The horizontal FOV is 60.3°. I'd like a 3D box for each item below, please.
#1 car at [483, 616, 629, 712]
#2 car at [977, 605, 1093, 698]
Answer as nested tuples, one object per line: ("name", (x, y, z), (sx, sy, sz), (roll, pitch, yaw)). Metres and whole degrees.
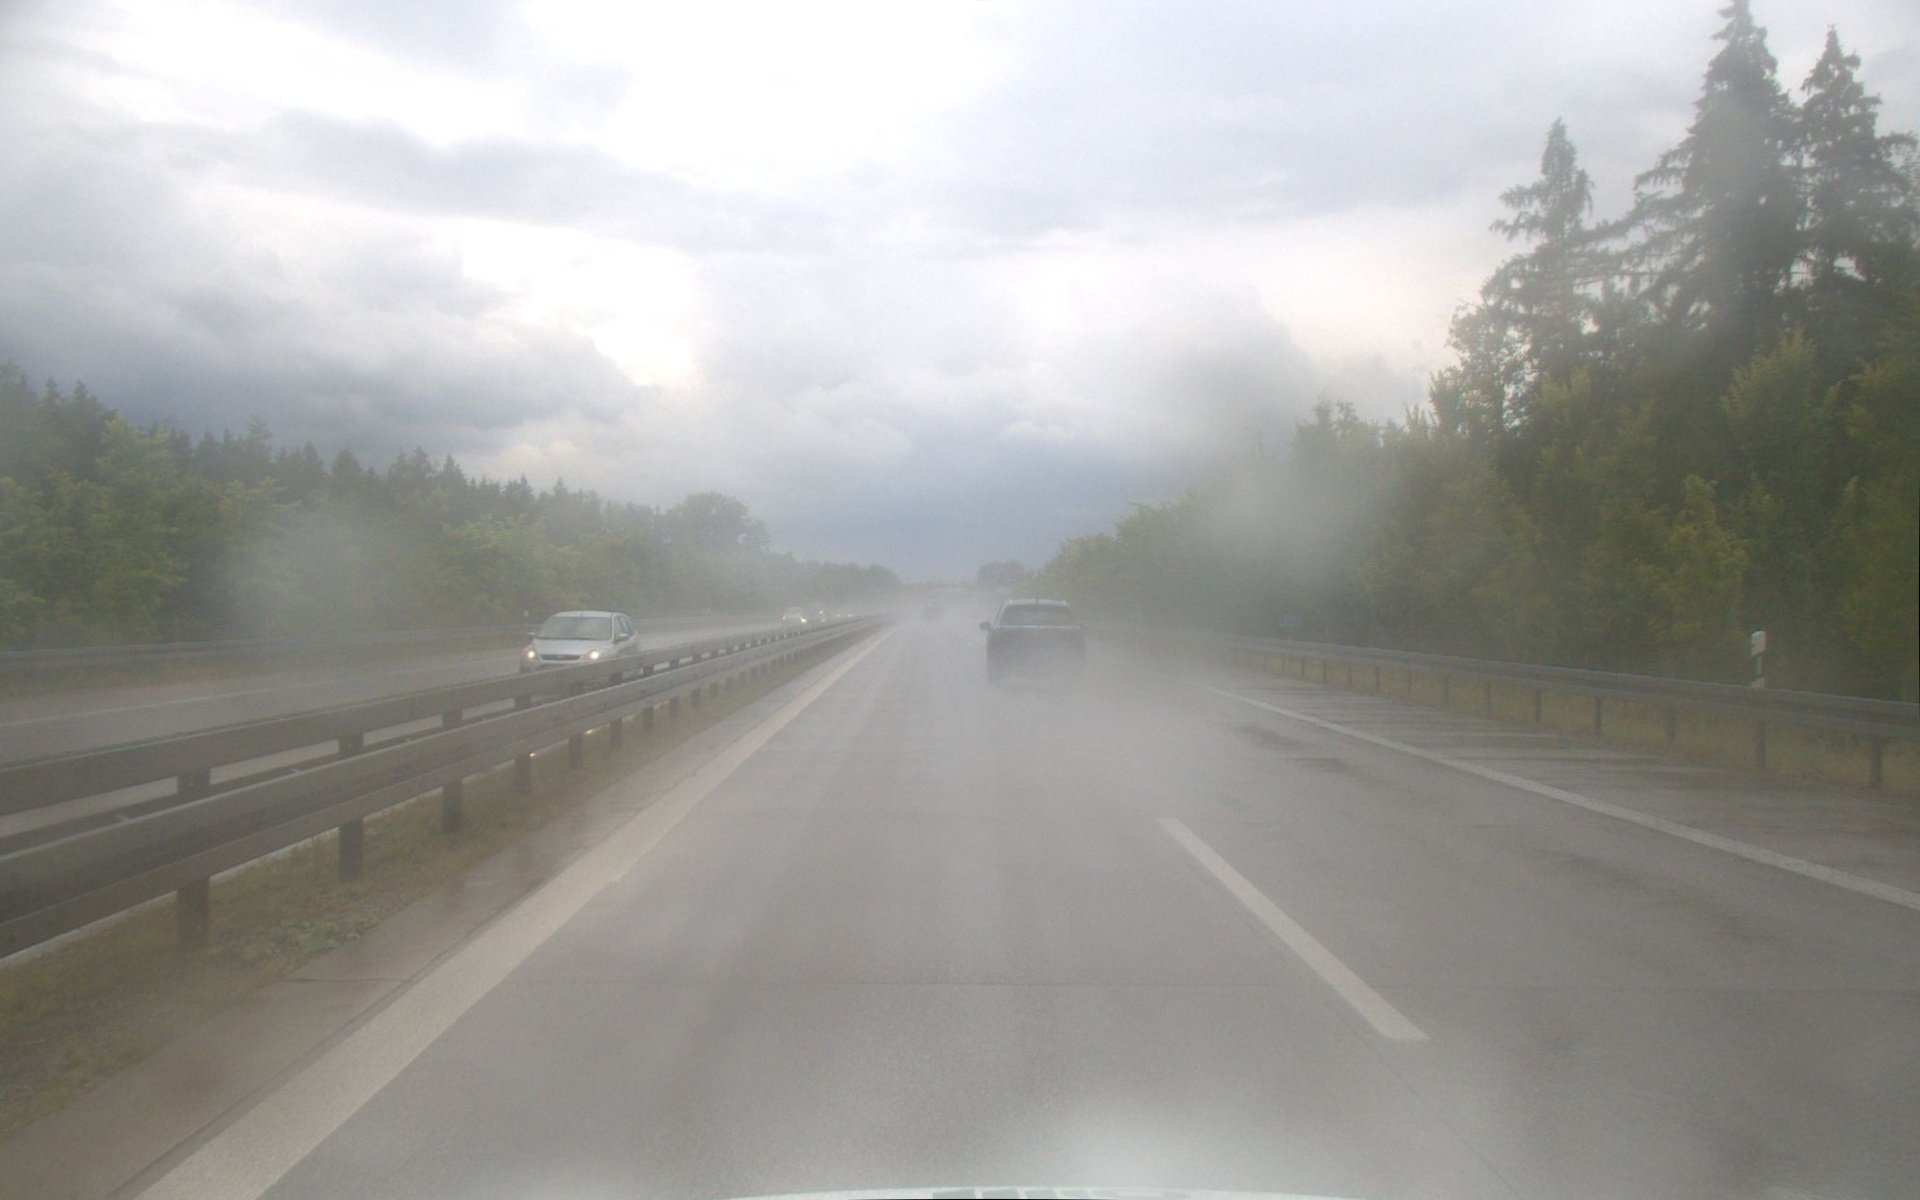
("car", (-6.961, 1.053, 28.951), (1.733, 1.443, 4.602), (-1, 0, -4))
("car", (1.328, 0.944, 30.661), (1.856, 1.604, 3.630), (1, -1, -2))
